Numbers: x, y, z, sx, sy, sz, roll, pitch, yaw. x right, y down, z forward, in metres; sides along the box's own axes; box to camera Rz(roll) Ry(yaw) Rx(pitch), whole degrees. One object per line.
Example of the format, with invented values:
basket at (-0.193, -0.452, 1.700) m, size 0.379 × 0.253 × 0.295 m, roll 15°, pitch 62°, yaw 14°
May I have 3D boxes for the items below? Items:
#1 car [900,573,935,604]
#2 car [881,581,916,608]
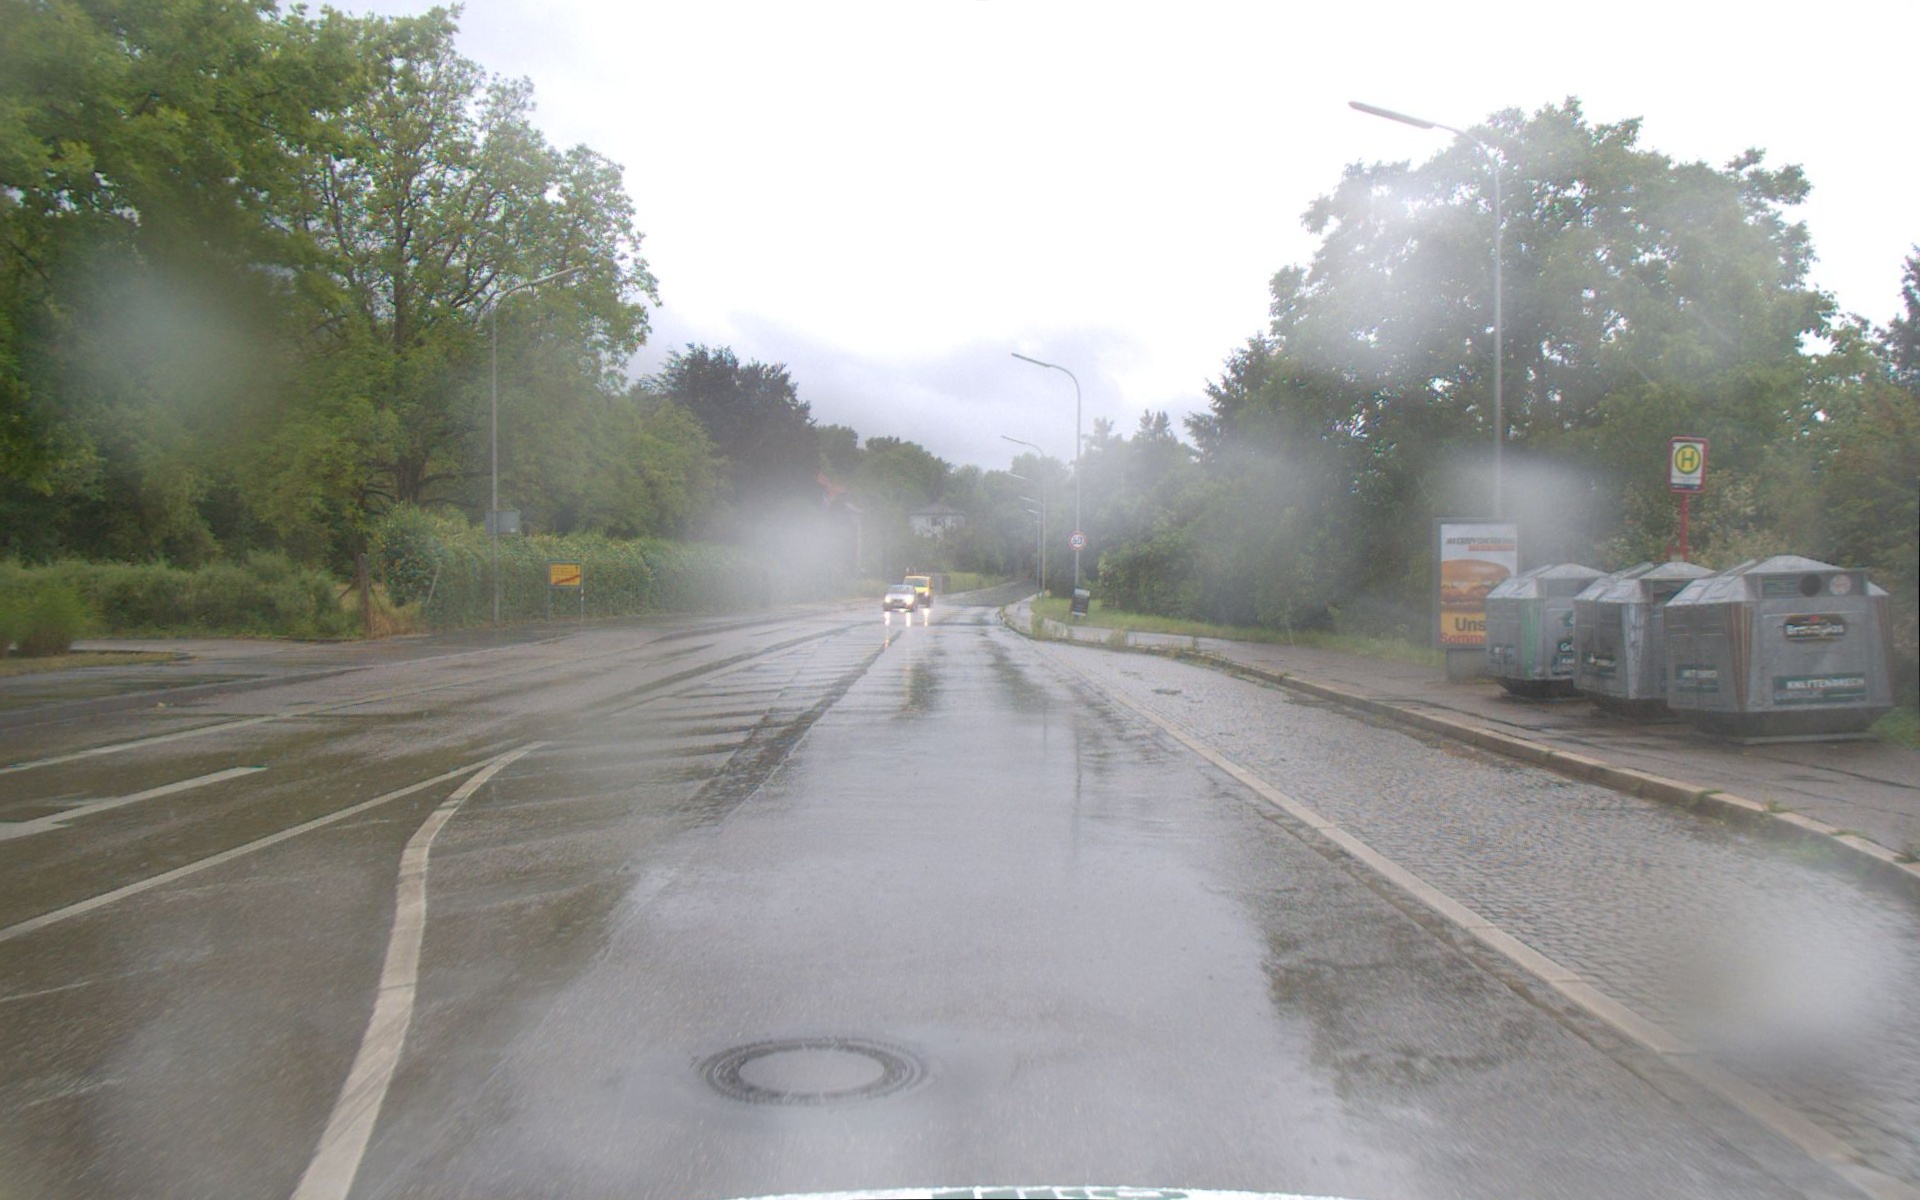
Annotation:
car at (-2.692, -0.746, 105.084) m, size 1.897 × 1.904 × 5.038 m, roll 0°, pitch 1°, yaw 2°
car at (-3.283, -0.299, 88.400) m, size 1.666 × 1.373 × 3.906 m, roll 0°, pitch 1°, yaw 1°
